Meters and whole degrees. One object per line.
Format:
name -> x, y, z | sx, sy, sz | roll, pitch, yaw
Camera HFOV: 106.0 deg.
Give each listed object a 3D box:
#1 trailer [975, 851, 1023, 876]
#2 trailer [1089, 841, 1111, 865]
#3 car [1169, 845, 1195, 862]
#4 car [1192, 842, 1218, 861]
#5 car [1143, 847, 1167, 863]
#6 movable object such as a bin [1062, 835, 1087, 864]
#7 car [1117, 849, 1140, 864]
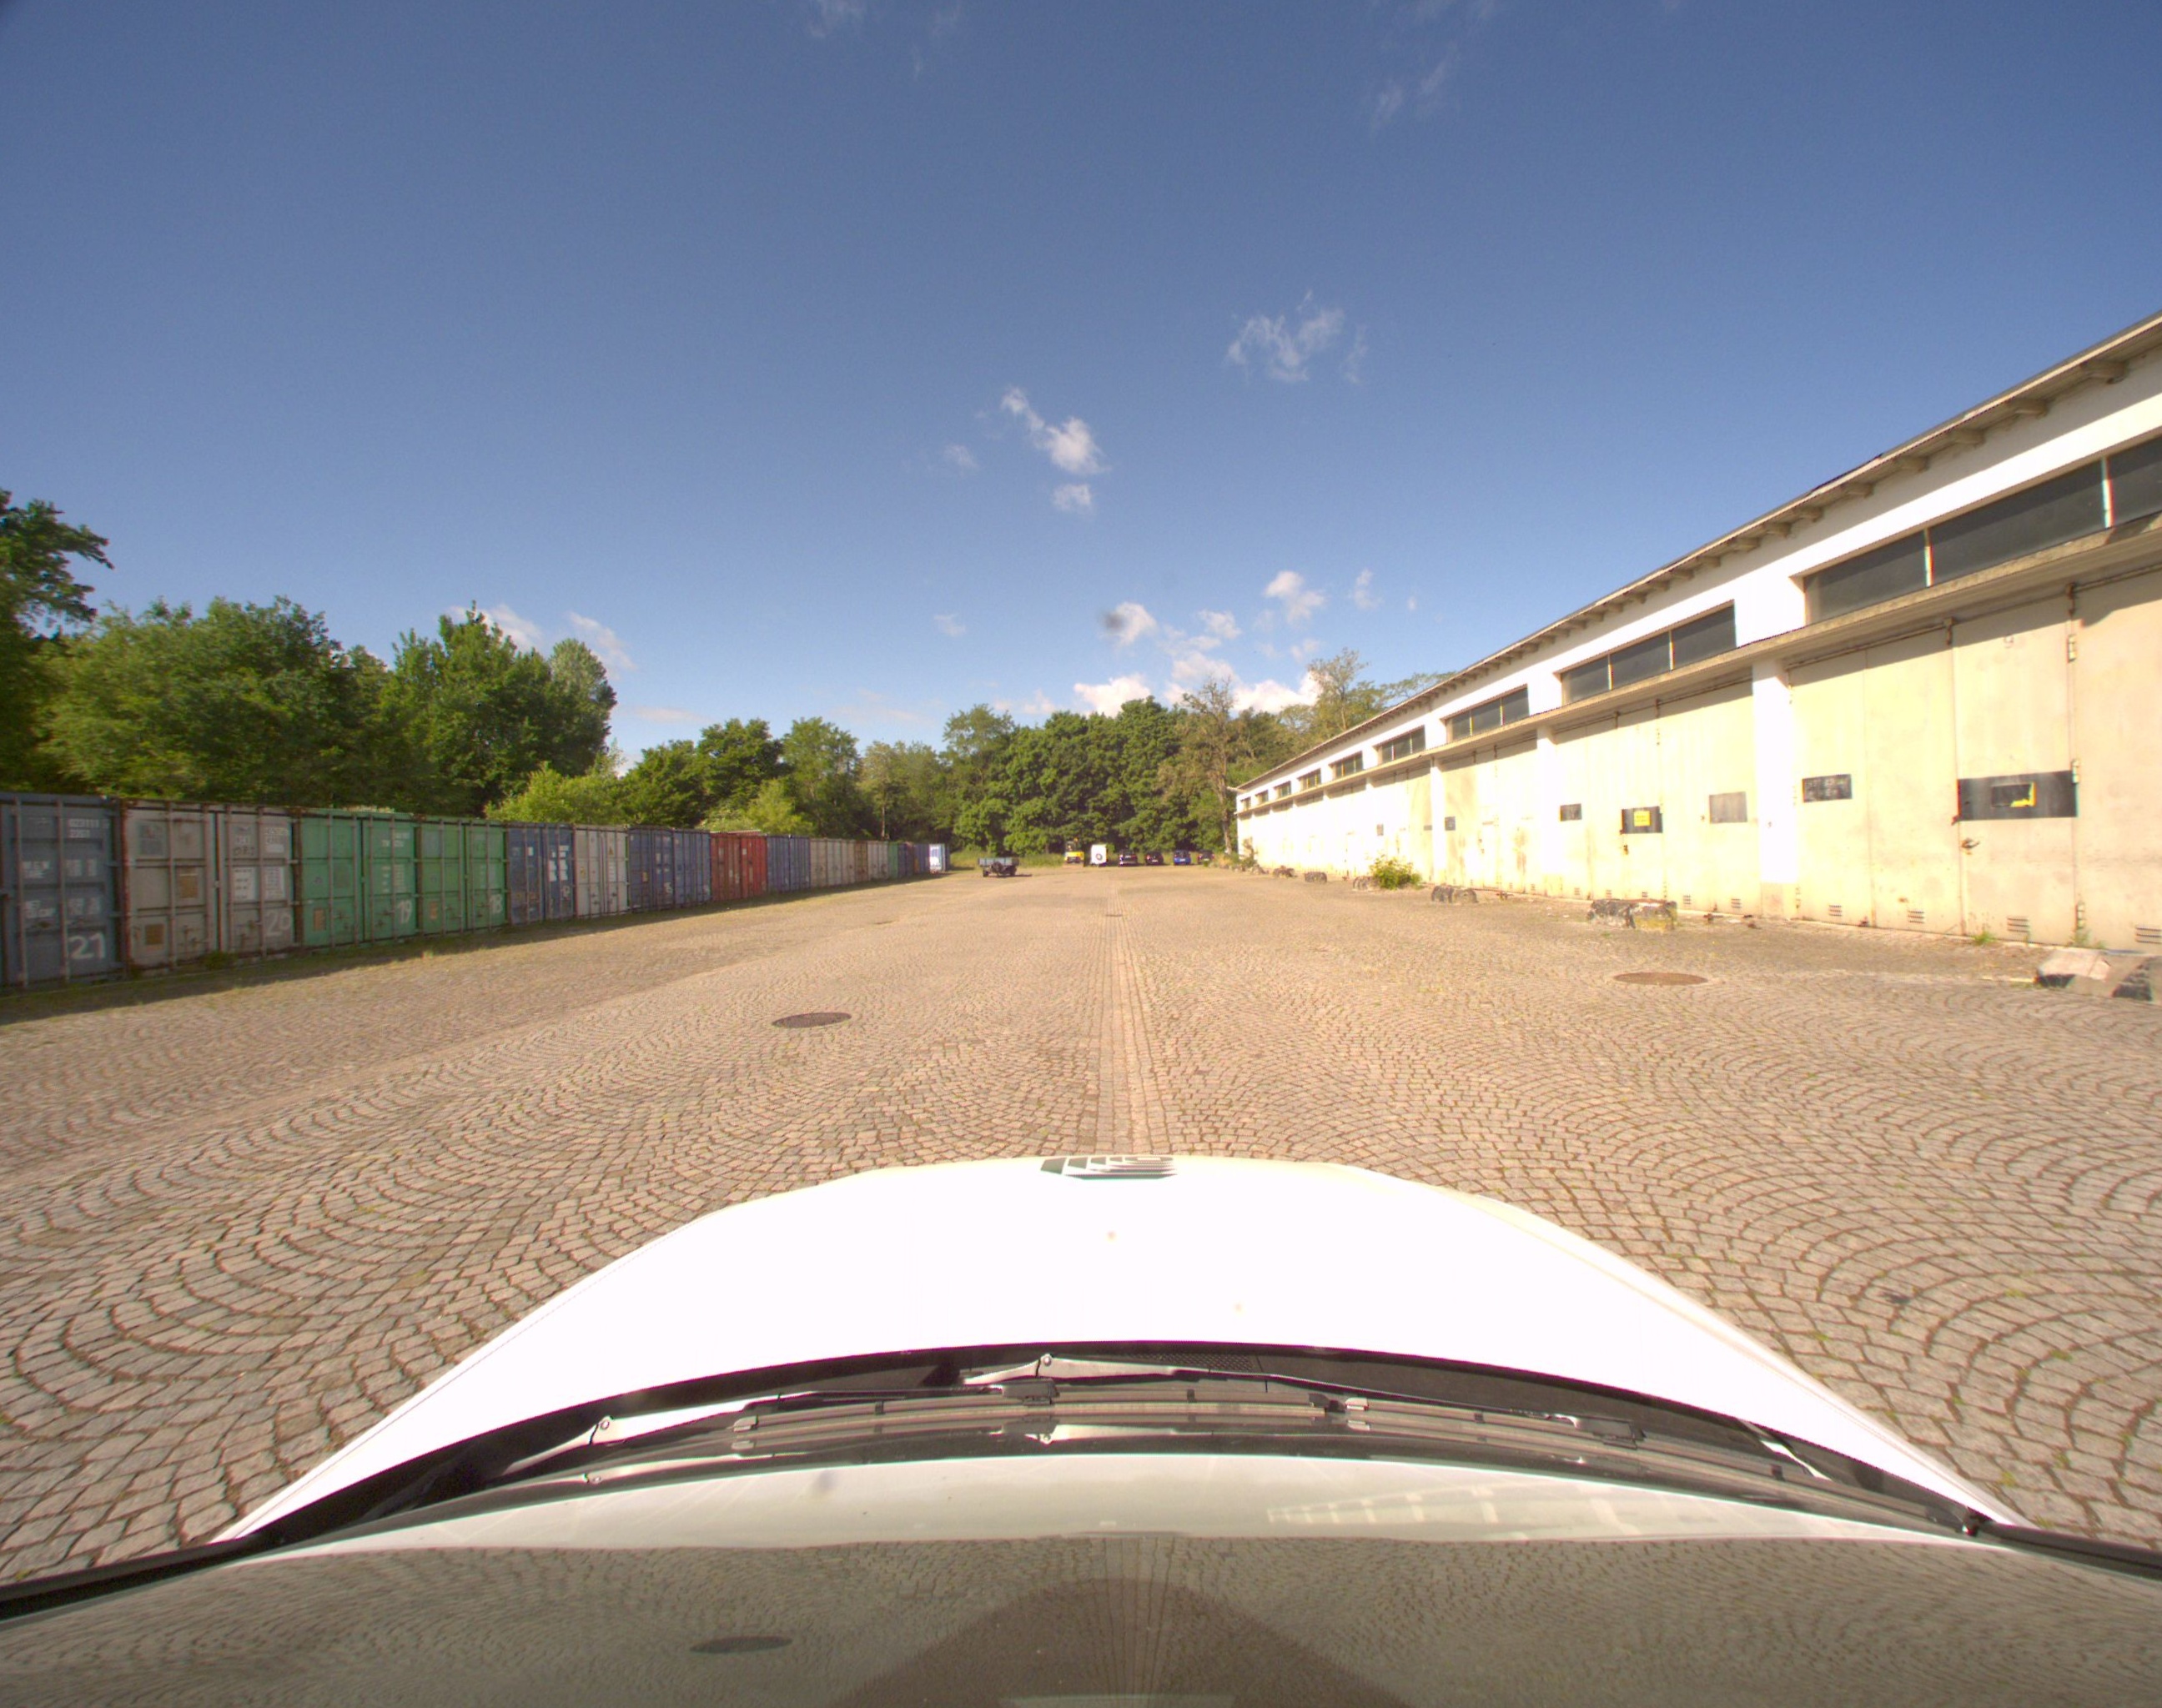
trailer -> -5.954, 0.645, 60.036 | 2.781, 1.646, 5.622 | -2, 0, 1
trailer -> 1.823, -0.139, 78.418 | 1.986, 2.162, 4.433 | -2, 0, 1
car -> 9.562, -0.022, 77.360 | 1.986, 1.466, 4.002 | -2, 0, 2
car -> 11.954, -0.237, 78.548 | 1.986, 1.772, 4.002 | -2, 0, 2
car -> 6.983, 0.116, 77.433 | 1.986, 1.424, 4.002 | -2, 0, 2
movable object such as a bin -> -0.615, -0.412, 79.234 | 2.225, 2.657, 3.999 | -2, 0, 0
car -> 4.454, 0.239, 77.120 | 1.986, 1.258, 4.002 | -2, 0, 2
